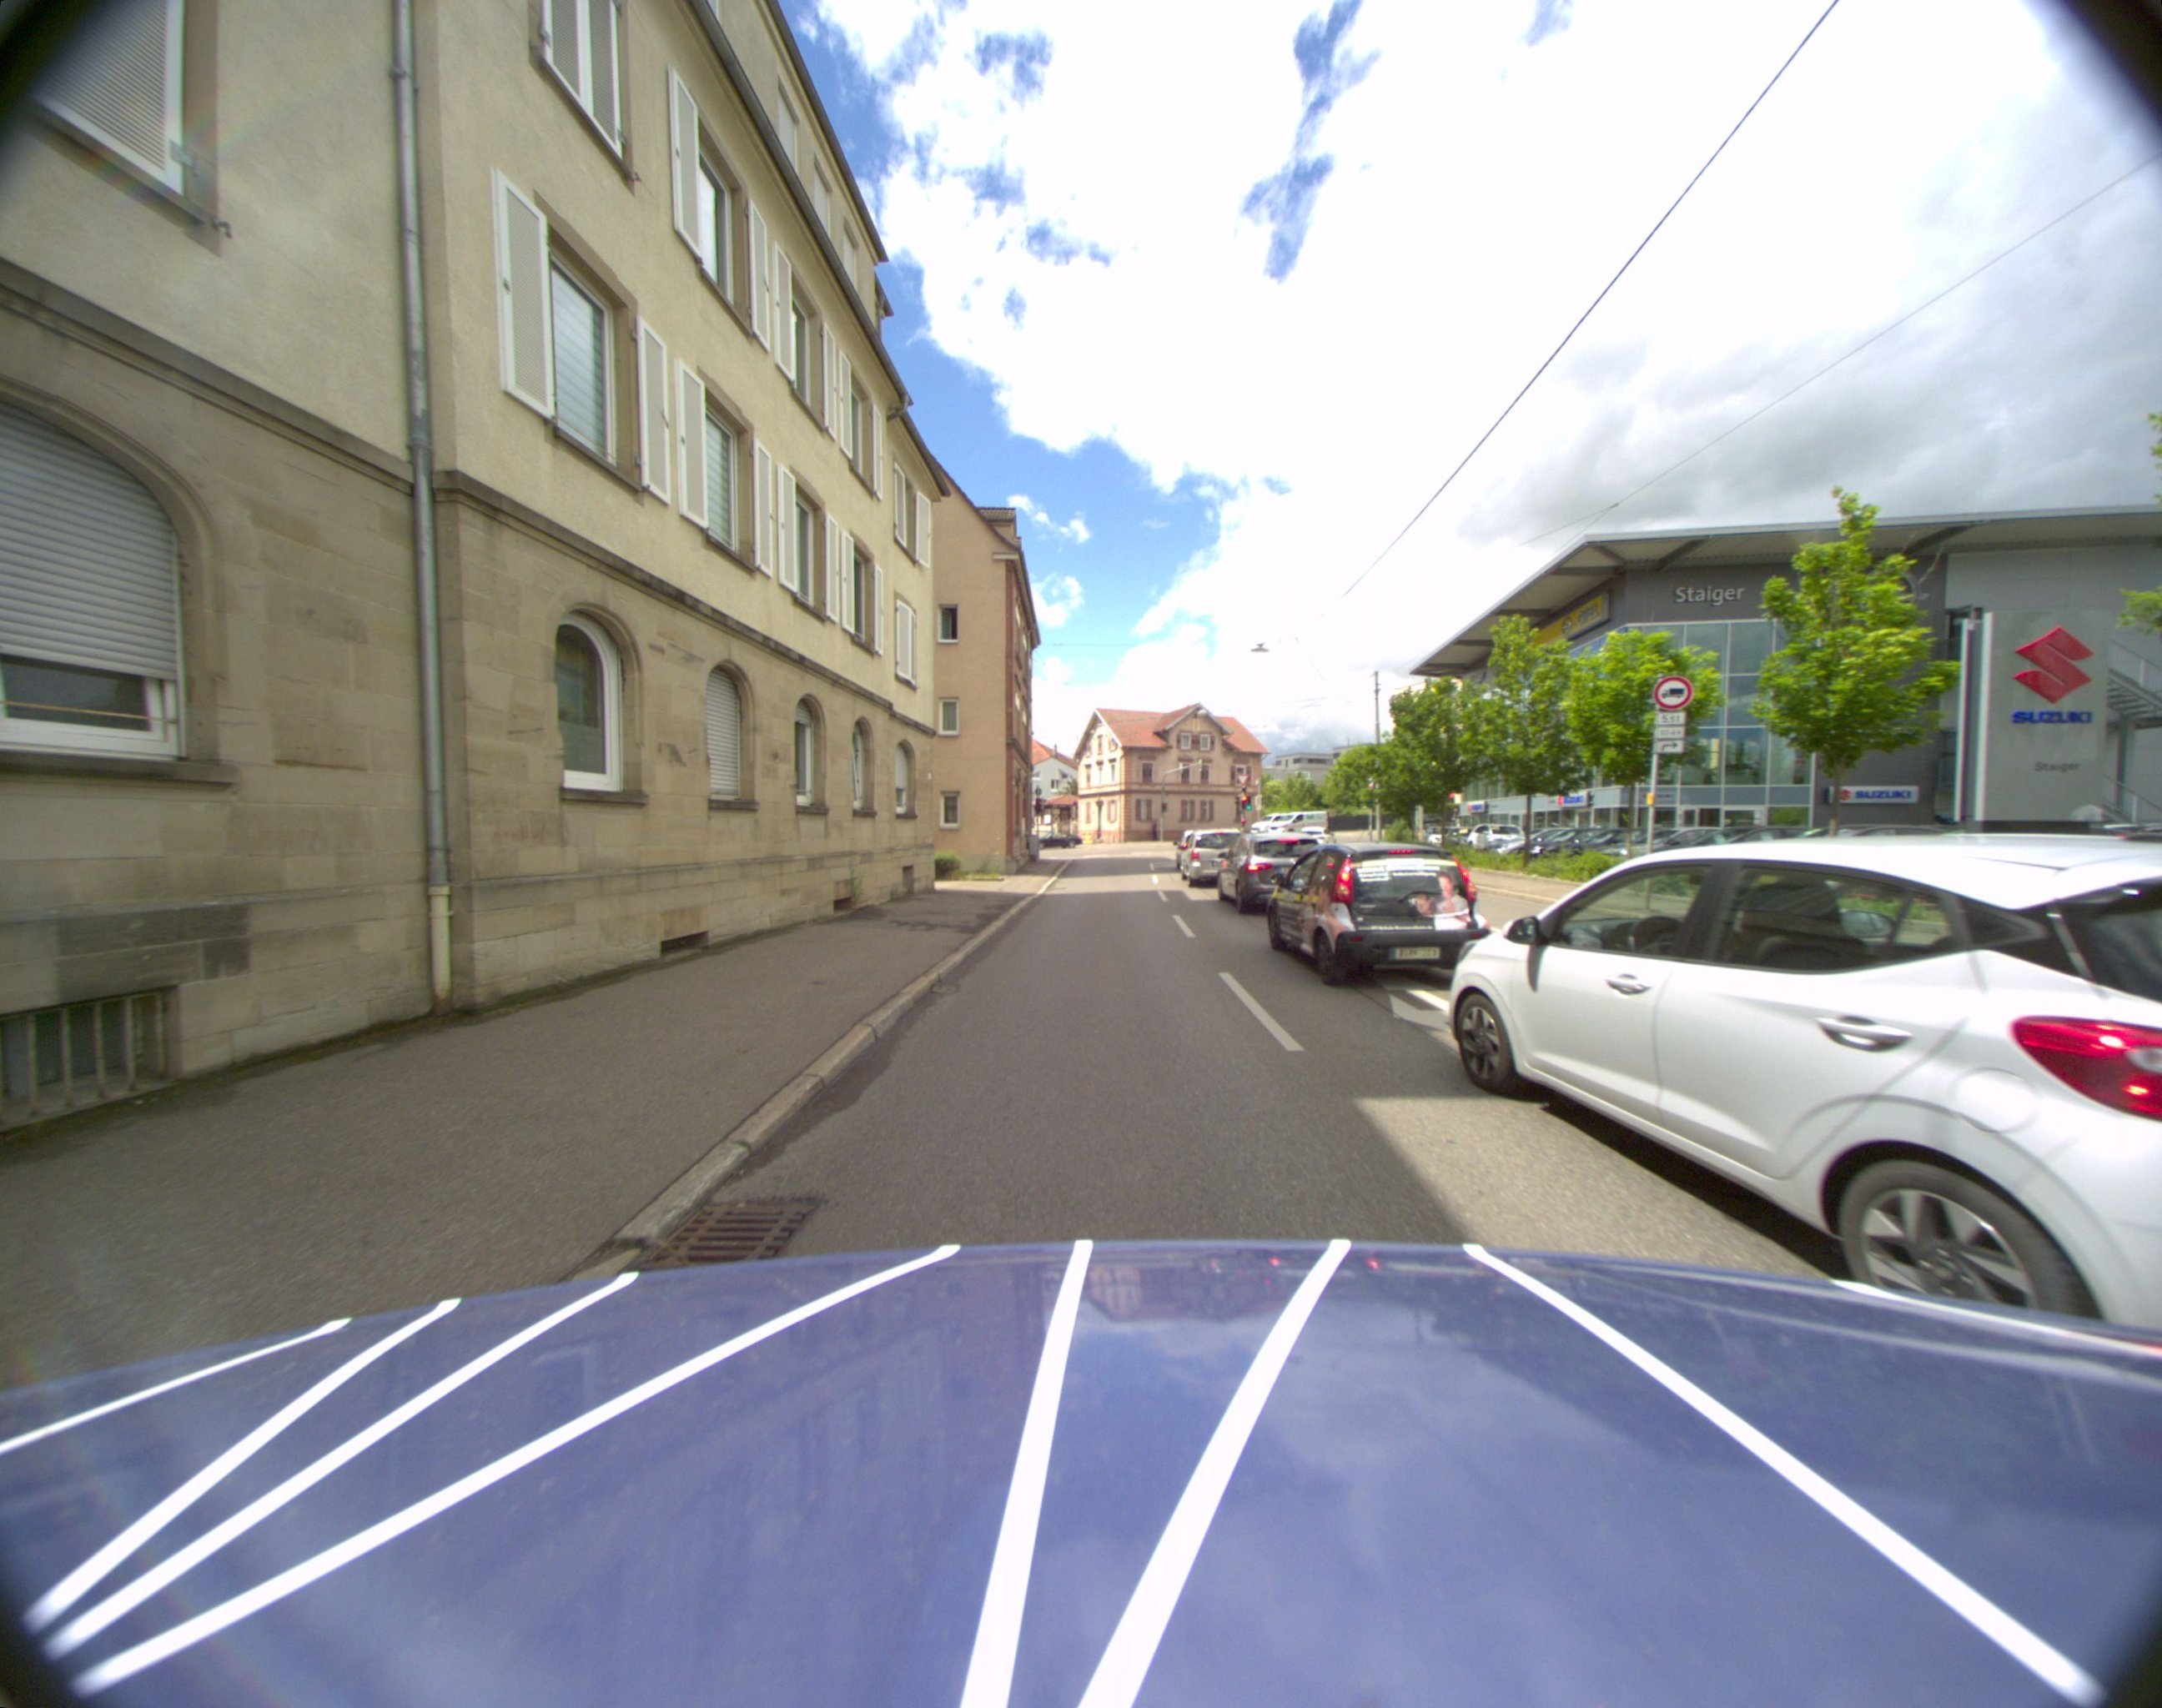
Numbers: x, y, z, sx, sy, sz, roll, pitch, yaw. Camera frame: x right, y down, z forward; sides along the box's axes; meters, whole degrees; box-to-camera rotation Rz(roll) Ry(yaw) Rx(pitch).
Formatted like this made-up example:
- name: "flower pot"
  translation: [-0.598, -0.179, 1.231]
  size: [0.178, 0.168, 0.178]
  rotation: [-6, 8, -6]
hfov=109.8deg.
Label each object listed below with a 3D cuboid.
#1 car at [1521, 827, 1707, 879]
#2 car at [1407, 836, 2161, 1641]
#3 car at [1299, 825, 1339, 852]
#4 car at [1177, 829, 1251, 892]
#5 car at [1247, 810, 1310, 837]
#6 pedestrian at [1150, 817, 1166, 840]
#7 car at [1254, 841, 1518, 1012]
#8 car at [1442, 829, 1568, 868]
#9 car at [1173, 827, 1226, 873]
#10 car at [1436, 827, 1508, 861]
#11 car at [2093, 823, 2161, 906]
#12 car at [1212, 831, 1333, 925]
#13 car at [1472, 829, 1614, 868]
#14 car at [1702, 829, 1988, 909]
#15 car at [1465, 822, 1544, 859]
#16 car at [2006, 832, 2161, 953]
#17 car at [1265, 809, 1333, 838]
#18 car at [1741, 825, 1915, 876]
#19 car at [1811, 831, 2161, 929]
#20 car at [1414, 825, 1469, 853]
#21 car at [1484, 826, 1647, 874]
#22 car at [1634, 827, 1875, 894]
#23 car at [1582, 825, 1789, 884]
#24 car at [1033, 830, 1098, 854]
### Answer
- name: "car"
  translation: [15.945, -0.037, 22.905]
  size: [4.289, 1.489, 1.812]
  rotation: [0, 1, 2]
- name: "car"
  translation: [3.127, 0.775, 3.286]
  size: [1.723, 1.573, 3.998]
  rotation: [-2, 2, 1]
- name: "car"
  translation: [14.364, -0.979, 45.720]
  size: [1.720, 1.489, 4.469]
  rotation: [2, 4, 25]
- name: "car"
  translation: [3.829, 0.118, 22.452]
  size: [1.722, 1.573, 4.318]
  rotation: [-2, 2, 5]
- name: "car"
  translation: [16.629, -2.561, 63.862]
  size: [4.820, 2.001, 1.996]
  rotation: [-4, 3, -21]
- name: "pedestrian"
  translation: [6.398, -2.125, 63.004]
  size: [1.049, 1.854, 0.722]
  rotation: [-5, 3, -21]
- name: "car"
  translation: [3.254, 0.657, 8.811]
  size: [1.723, 1.476, 3.321]
  rotation: [-2, 2, 1]
- name: "car"
  translation: [16.983, -0.241, 30.586]
  size: [3.995, 1.489, 1.813]
  rotation: [0, 1, 5]
- name: "car"
  translation: [4.522, -0.227, 29.449]
  size: [1.722, 1.573, 4.000]
  rotation: [-2, 2, 5]
- name: "car"
  translation: [20.510, -0.565, 40.037]
  size: [1.946, 1.554, 4.306]
  rotation: [-2, 2, 7]
- name: "car"
  translation: [19.360, 0.179, 12.488]
  size: [3.323, 1.365, 1.518]
  rotation: [0, 1, 1]
- name: "car"
  translation: [3.804, 0.381, 15.757]
  size: [1.722, 1.573, 4.250]
  rotation: [-2, 2, 5]
- name: "car"
  translation: [16.922, -0.210, 27.991]
  size: [4.075, 1.386, 1.813]
  rotation: [0, 1, 5]
- name: "car"
  translation: [15.140, 0.270, 15.239]
  size: [3.836, 1.489, 1.812]
  rotation: [0, 1, 2]
- name: "car"
  translation: [19.672, -0.657, 35.476]
  size: [1.946, 1.554, 3.996]
  rotation: [-2, 2, 9]
- name: "car"
  translation: [15.200, 0.469, 10.026]
  size: [3.823, 1.489, 1.812]
  rotation: [0, 1, -1]
- name: "car"
  translation: [17.354, -2.424, 60.533]
  size: [4.994, 1.982, 1.996]
  rotation: [-4, 3, -23]
- name: "car"
  translation: [20.944, -0.114, 21.394]
  size: [3.323, 1.365, 1.518]
  rotation: [0, 1, 1]
- name: "car"
  translation: [14.893, 0.390, 12.555]
  size: [3.858, 1.489, 1.812]
  rotation: [0, 1, 1]
- name: "car"
  translation: [21.085, -0.895, 44.612]
  size: [1.946, 1.466, 4.308]
  rotation: [-2, 2, 12]
- name: "car"
  translation: [15.968, -0.140, 25.209]
  size: [4.217, 1.489, 1.812]
  rotation: [0, 1, 2]
- name: "car"
  translation: [15.674, 0.127, 17.861]
  size: [3.991, 1.489, 1.812]
  rotation: [0, 1, 2]
- name: "car"
  translation: [16.133, 0.005, 20.459]
  size: [4.064, 1.489, 1.812]
  rotation: [0, 1, 2]
- name: "car"
  translation: [-1.143, -0.887, 56.659]
  size: [4.334, 1.458, 1.996]
  rotation: [-5, 3, -23]
